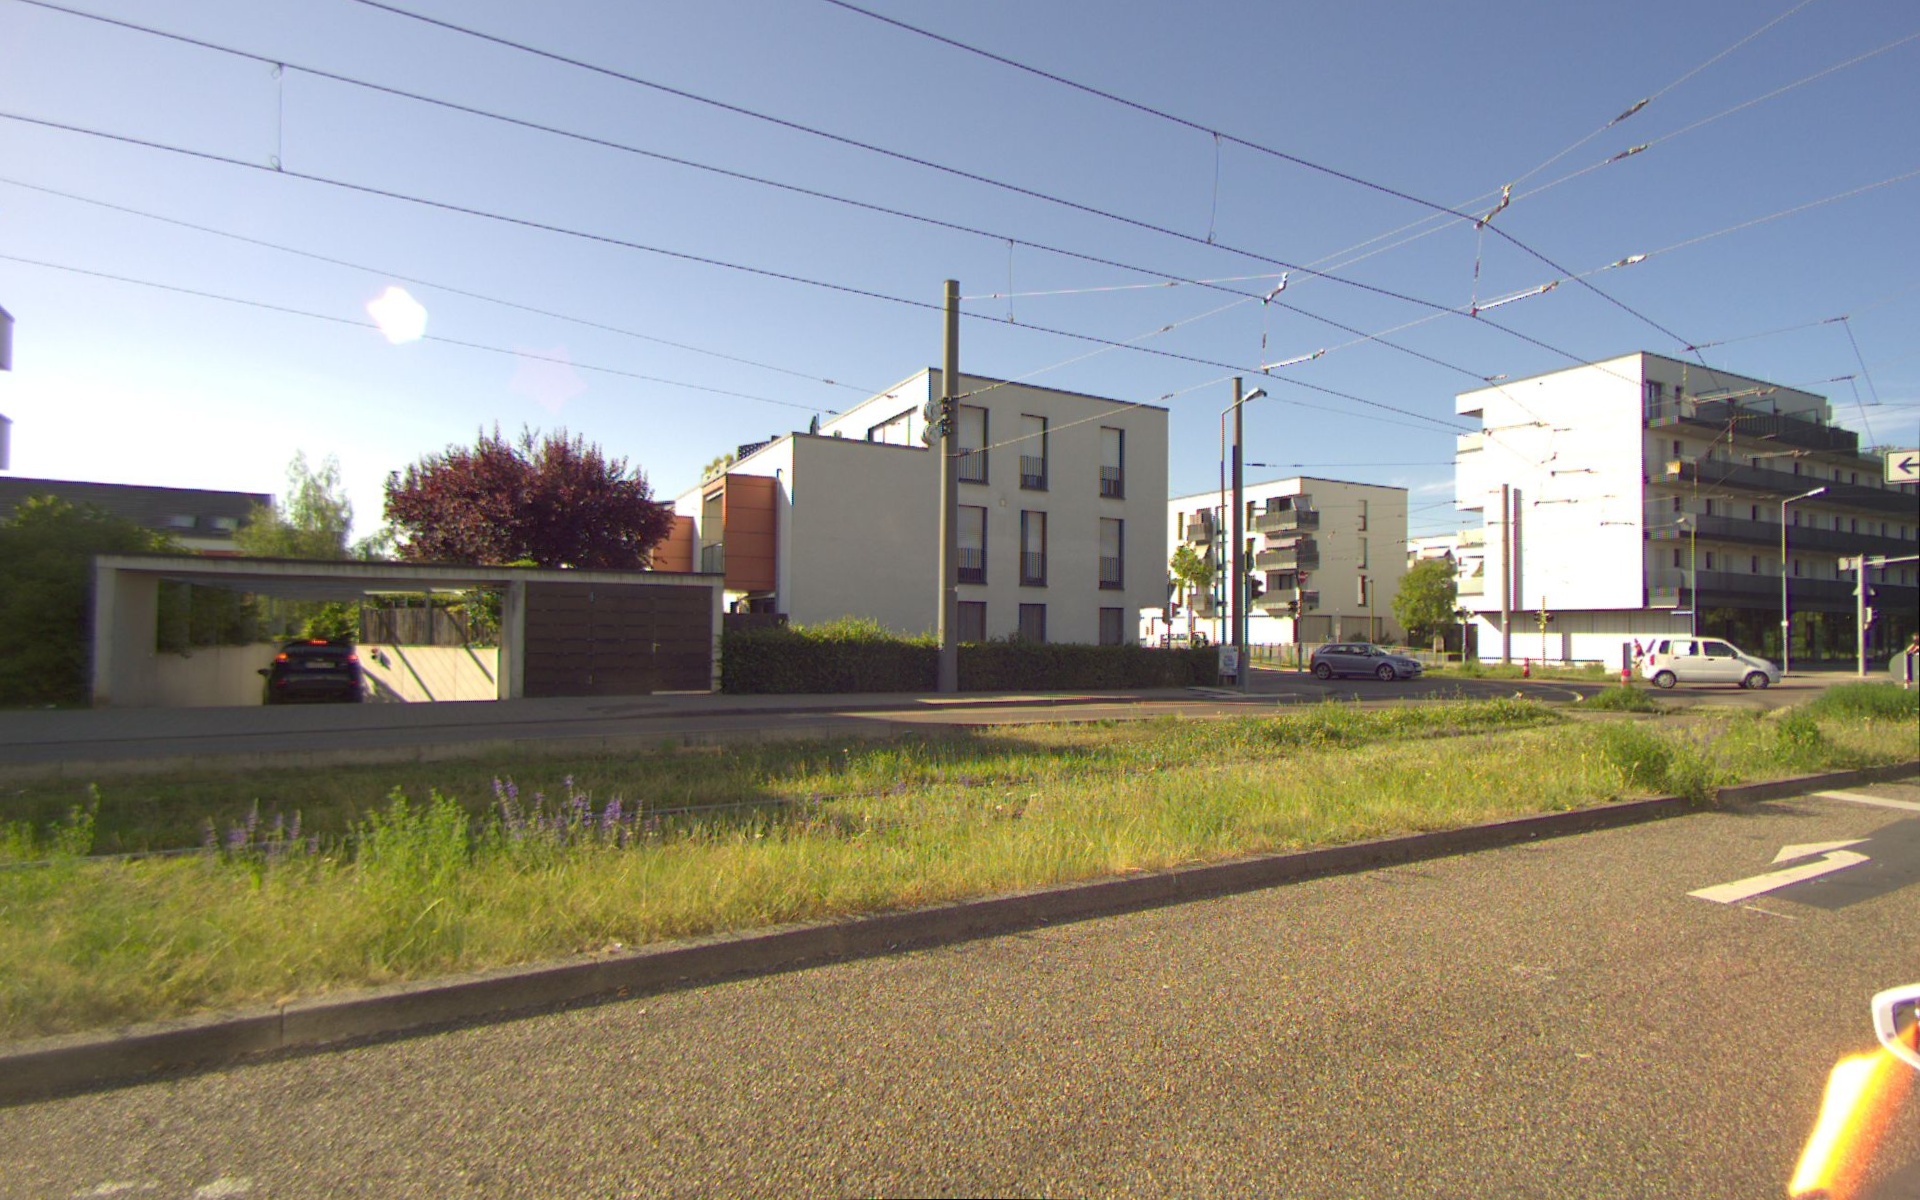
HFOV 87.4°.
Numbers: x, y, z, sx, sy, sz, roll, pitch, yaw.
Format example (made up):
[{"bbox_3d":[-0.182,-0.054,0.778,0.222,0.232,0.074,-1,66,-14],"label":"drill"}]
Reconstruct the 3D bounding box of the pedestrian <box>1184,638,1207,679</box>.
[{"bbox_3d":[9.715,2.387,41.459,0.759,1.626,0.742,2,0,25],"label":"pedestrian"}]

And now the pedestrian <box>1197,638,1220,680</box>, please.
[{"bbox_3d":[10.104,2.396,40.825,0.759,1.626,0.742,2,0,25],"label":"pedestrian"}]

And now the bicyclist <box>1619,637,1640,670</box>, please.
[{"bbox_3d":[34.133,2.732,51.213,0.777,1.635,0.635,2,0,-33],"label":"bicyclist"}]

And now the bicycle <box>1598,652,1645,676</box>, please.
[{"bbox_3d":[33.922,3.267,51.536,0.814,1.139,1.844,2,0,-33],"label":"bicycle"}]

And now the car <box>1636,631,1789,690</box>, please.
[{"bbox_3d":[24.069,1.893,32.294,3.618,1.743,1.868,0,-1,27],"label":"car"}]

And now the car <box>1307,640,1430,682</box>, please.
[{"bbox_3d":[15.776,2.314,38.945,1.856,1.505,4.061,2,-3,-41],"label":"car"}]

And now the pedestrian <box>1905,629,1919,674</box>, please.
[{"bbox_3d":[37.046,1.969,38.652,0.613,1.714,0.810,1,-2,-27],"label":"pedestrian"}]

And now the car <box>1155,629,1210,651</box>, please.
[{"bbox_3d":[17.770,3.181,80.379,1.974,1.595,4.309,2,0,-27],"label":"car"}]

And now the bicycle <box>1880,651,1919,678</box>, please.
[{"bbox_3d":[37.051,2.474,38.615,0.632,1.015,2.401,1,-2,-27],"label":"bicycle"}]

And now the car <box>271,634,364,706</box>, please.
[{"bbox_3d":[-14.103,1.581,22.024,1.560,1.344,3.966,2,-7,-33],"label":"car"}]
